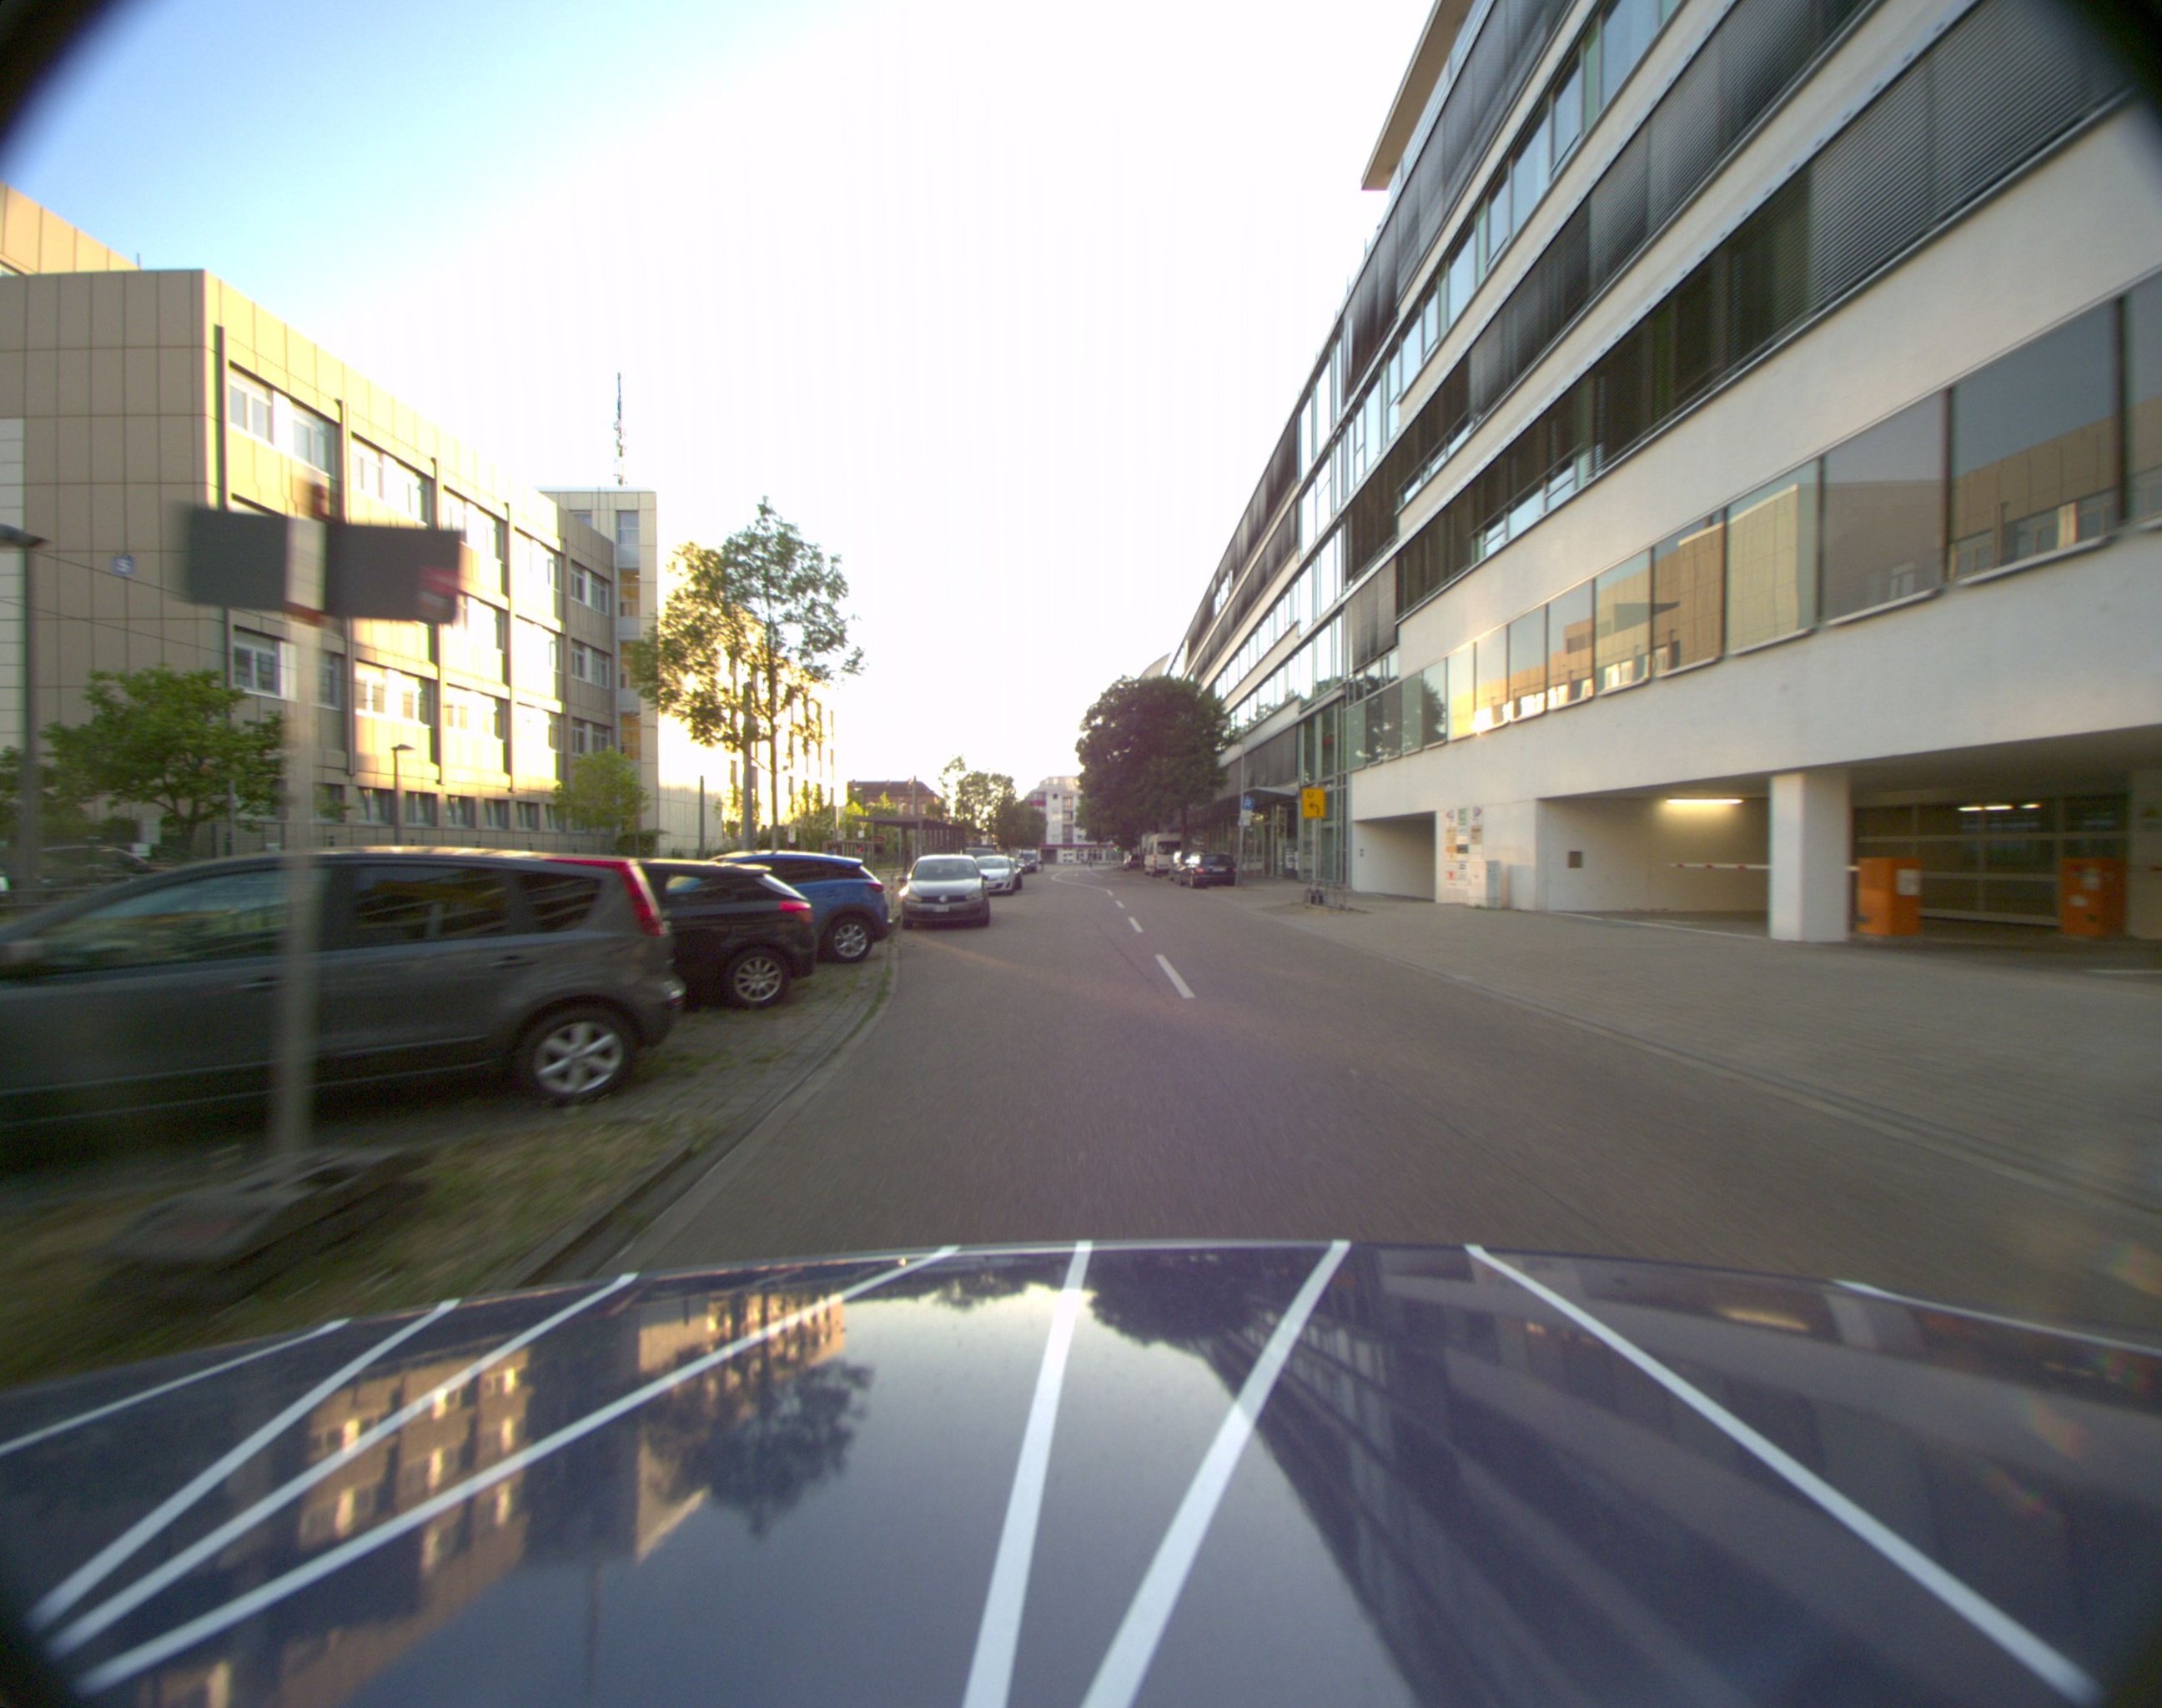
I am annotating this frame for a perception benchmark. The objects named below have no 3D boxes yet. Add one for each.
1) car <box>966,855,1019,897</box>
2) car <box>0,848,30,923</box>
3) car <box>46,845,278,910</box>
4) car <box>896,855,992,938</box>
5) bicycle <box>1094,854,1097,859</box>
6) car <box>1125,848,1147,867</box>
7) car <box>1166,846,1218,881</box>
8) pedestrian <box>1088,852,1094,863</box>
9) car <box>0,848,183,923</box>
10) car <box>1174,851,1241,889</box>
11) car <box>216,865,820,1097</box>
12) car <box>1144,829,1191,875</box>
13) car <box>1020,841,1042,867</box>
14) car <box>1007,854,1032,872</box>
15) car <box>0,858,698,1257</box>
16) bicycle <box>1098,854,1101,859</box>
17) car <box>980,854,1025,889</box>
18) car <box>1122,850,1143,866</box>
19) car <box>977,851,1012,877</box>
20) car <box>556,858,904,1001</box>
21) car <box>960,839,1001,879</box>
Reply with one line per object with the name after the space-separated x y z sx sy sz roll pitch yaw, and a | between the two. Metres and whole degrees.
-3.283 0.781 28.835 1.680 1.443 4.186 -1 0 -3 | car
-23.417 0.573 14.648 3.997 1.478 1.675 2 1 1 | car
-23.677 0.571 19.670 3.997 1.478 1.675 2 1 1 | car
-2.924 0.815 16.541 1.737 1.457 3.996 -3 1 -9 | car
2.841 0.457 149.560 0.515 1.040 1.902 0 0 -3 | bicycle
5.039 0.296 69.688 1.594 1.559 4.471 -3 0 0 | car
5.230 0.432 36.211 1.849 1.562 4.267 -1 0 0 | car
1.472 0.506 109.662 0.545 1.691 0.709 0 1 27 | pedestrian
-23.399 0.676 17.263 3.997 1.478 1.675 2 1 1 | car
5.125 0.613 31.249 1.720 1.443 4.397 -1 0 -4 | car
-4.712 0.877 6.993 4.008 1.456 1.732 -1 1 -38 | car
5.253 -0.117 47.227 2.106 2.648 6.950 -1 0 0 | car
-5.437 0.010 83.447 2.056 2.642 5.433 3 0 -2 | car
-5.623 0.816 69.826 1.800 1.487 4.781 3 0 1 | car
-4.584 0.912 4.342 4.006 1.586 1.732 -3 2 -35 | car
3.673 0.492 149.339 0.515 1.040 1.902 0 0 -3 | bicycle
-3.444 0.750 34.108 1.792 1.443 4.514 -1 0 -3 | car
5.064 0.371 74.915 1.707 1.453 4.626 -3 0 0 | car
-5.631 0.615 49.943 1.711 1.571 4.479 1 0 1 | car
-4.687 0.847 10.322 4.007 1.512 1.922 0 2 -35 | car
-5.741 0.276 43.902 1.809 2.164 4.735 1 0 -1 | car
